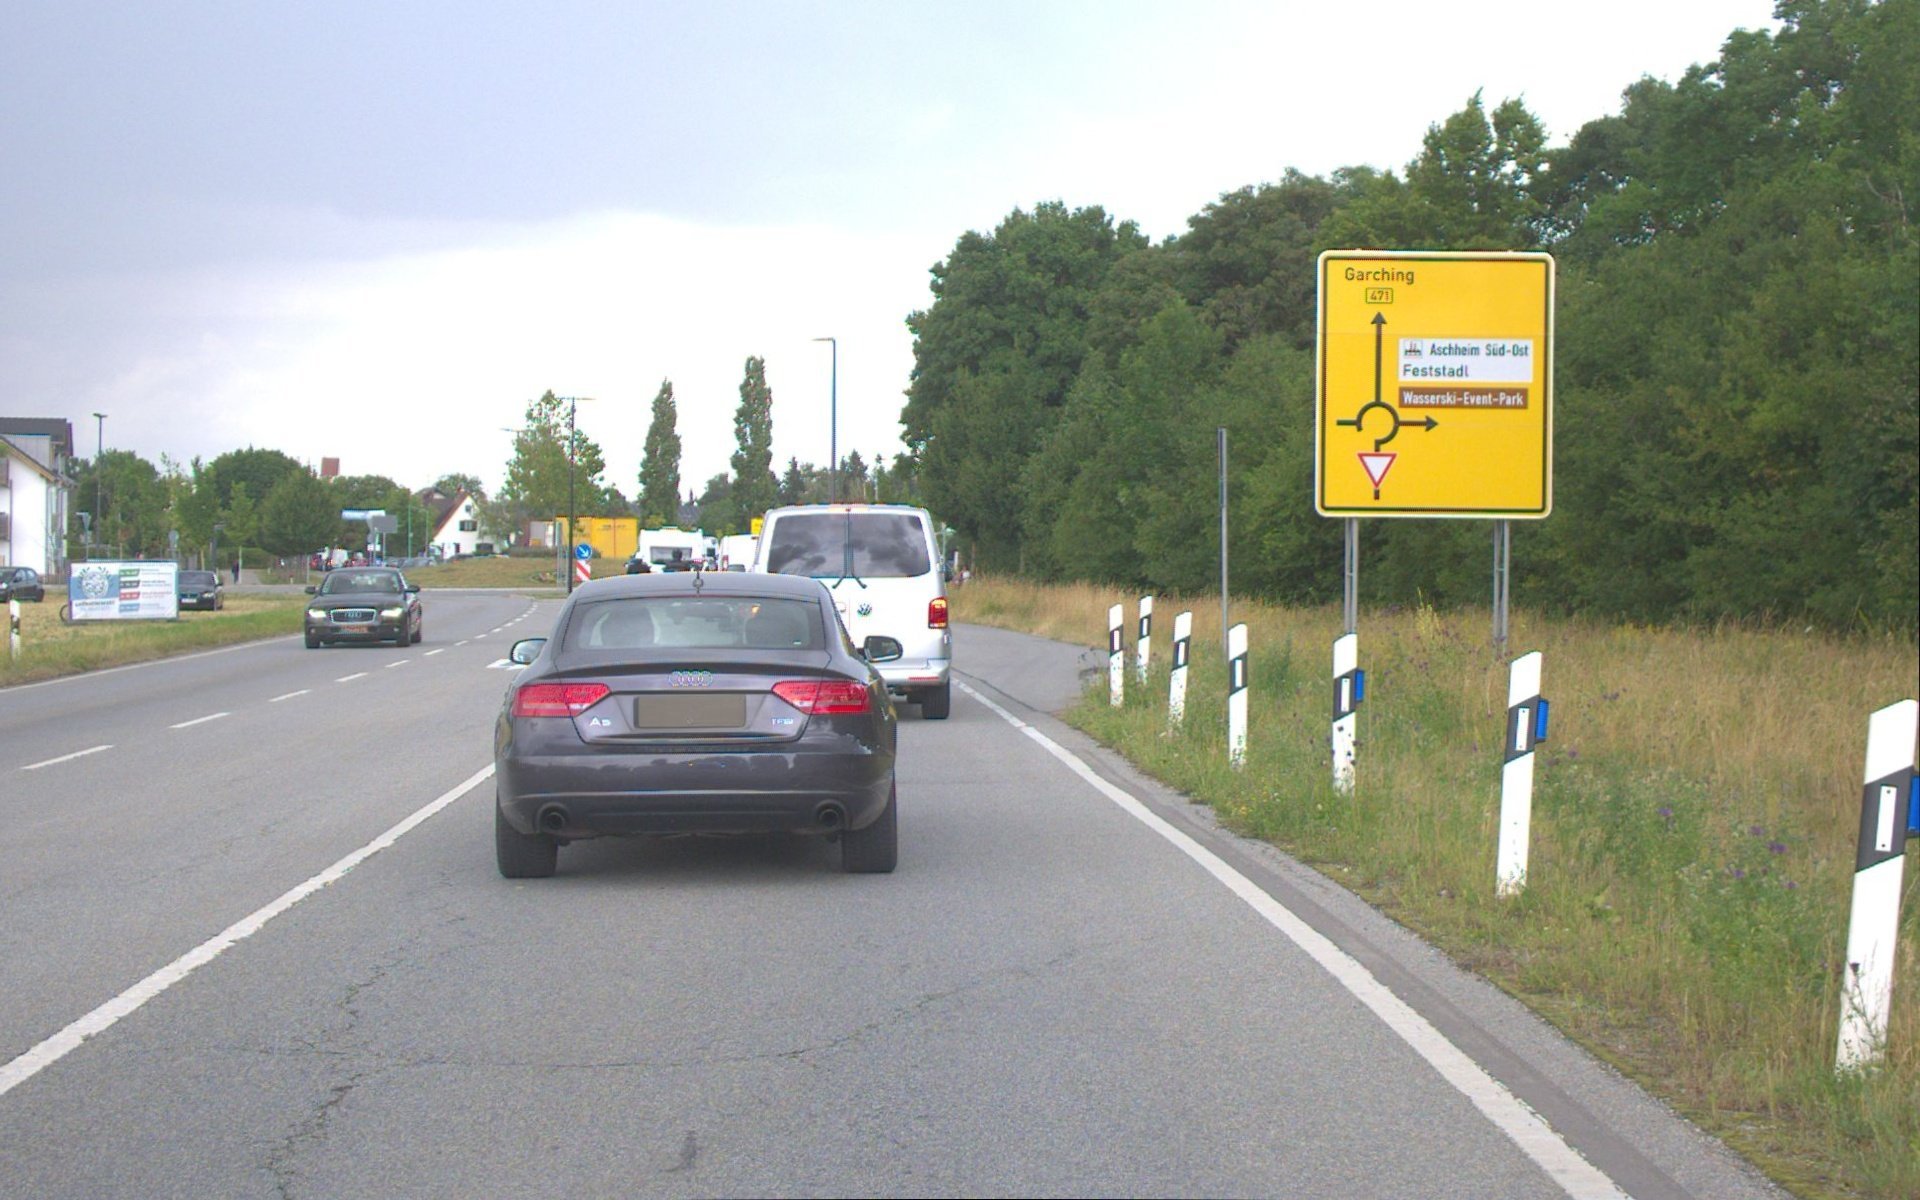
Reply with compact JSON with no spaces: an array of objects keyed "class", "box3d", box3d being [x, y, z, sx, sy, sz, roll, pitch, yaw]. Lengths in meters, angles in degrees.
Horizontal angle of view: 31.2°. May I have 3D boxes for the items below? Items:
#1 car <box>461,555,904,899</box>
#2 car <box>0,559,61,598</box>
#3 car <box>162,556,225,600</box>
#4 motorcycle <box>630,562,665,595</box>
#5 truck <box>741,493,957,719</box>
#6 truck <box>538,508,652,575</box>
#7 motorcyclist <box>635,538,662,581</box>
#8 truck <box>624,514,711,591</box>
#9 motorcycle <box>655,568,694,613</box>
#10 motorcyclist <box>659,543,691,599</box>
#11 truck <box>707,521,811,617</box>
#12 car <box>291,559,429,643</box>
[{"class":"car","box3d":[-1.332,0.511,16.739,1.874,1.449,4.177,0,1,-4]},{"class":"car","box3d":[-36.157,-0.828,130.688,1.995,1.441,4.209,0,1,15]},{"class":"car","box3d":[-26.534,-0.772,118.937,1.993,1.437,4.001,0,1,-14]},{"class":"motorcycle","box3d":[-10.013,-0.693,110.217,0.944,1.016,2.284,0,1,-9]},{"class":"truck","box3d":[-1.119,0.020,32.671,1.904,1.991,4.629,0,1,-3]},{"class":"truck","box3d":[-20.117,-3.236,188.747,3.575,3.566,9.959,1,1,-22]},{"class":"motorcyclist","box3d":[-9.985,-1.289,110.106,0.785,1.352,0.854,0,1,-10]},{"class":"truck","box3d":[-10.876,-1.751,127.296,2.625,2.728,5.869,1,0,-10]},{"class":"motorcycle","box3d":[-7.111,-0.254,85.706,0.920,1.090,2.189,1,1,-4]},{"class":"motorcyclist","box3d":[-7.092,-0.715,85.413,0.772,1.379,0.820,1,0,-5]},{"class":"truck","box3d":[-4.395,-0.675,75.111,2.193,2.007,5.085,0,1,-3]},{"class":"car","box3d":[-10.620,-0.011,61.075,1.826,1.405,4.424,-1,1,-2]}]
